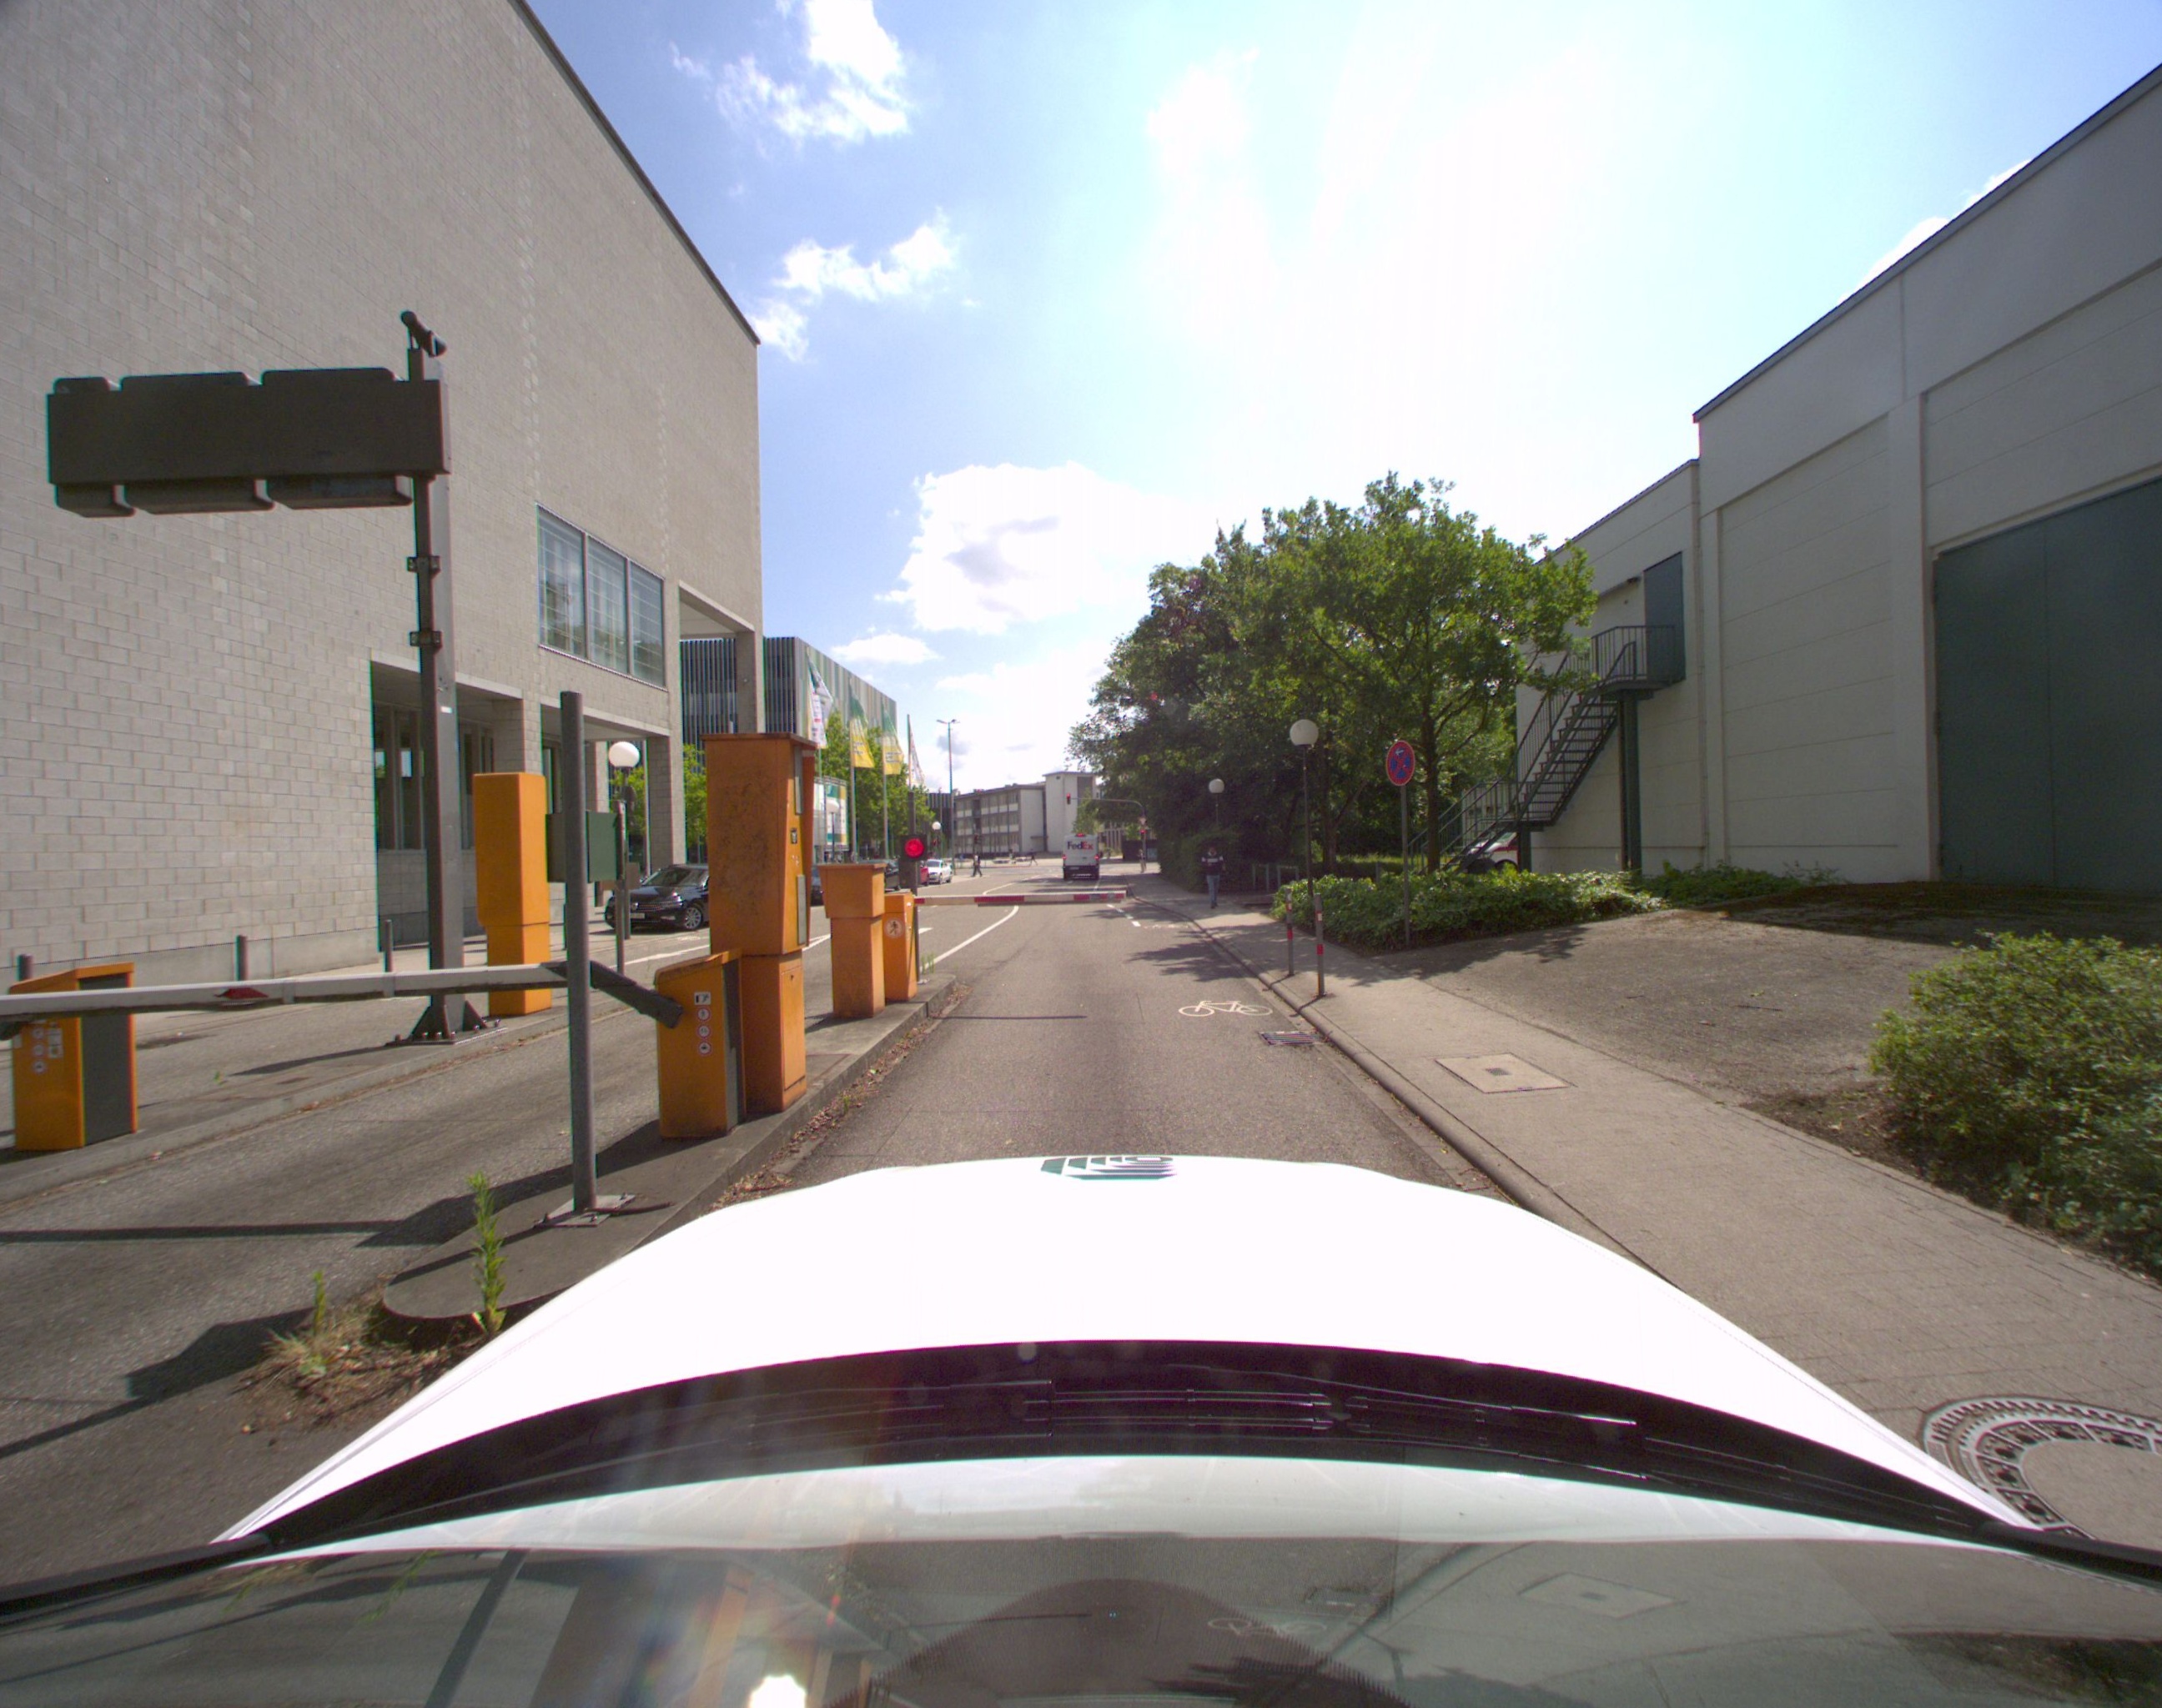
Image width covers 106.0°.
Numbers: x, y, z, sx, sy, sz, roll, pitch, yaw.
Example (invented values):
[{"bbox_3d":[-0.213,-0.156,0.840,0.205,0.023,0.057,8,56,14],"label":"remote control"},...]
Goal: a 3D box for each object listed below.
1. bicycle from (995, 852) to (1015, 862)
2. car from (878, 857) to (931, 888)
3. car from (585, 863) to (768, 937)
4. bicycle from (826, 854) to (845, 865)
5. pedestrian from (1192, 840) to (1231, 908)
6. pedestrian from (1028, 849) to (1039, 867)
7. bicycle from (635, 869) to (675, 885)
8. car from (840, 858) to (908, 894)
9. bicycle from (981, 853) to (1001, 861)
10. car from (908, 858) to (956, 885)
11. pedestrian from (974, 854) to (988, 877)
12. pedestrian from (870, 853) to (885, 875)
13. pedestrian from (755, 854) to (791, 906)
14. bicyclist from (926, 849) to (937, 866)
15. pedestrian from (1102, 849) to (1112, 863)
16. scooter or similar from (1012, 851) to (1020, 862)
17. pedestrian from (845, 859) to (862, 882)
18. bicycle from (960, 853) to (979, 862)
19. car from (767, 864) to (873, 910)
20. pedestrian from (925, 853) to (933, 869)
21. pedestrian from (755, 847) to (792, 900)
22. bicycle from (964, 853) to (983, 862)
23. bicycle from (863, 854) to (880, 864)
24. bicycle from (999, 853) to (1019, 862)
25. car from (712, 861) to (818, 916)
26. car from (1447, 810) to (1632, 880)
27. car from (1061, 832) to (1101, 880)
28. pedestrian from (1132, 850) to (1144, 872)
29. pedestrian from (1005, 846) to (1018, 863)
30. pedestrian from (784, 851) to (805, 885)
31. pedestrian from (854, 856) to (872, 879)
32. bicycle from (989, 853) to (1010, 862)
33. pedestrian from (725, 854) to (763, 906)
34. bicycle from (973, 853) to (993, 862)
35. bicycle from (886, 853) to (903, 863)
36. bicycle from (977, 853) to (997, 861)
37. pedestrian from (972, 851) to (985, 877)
[{"bbox_3d":[-11.745,0.465,126.074,2.978,1.363,1.105,-1,0,-36],"label":"bicycle"},{"bbox_3d":[-8.911,0.903,41.499,1.670,1.467,3.914,0,0,3],"label":"car"},{"bbox_3d":[-9.371,0.979,19.385,1.852,1.467,4.721,0,0,2],"label":"car"},{"bbox_3d":[-30.003,0.685,99.462,1.384,1.237,2.919,-1,0,-35],"label":"bicycle"},{"bbox_3d":[3.331,0.491,20.874,0.737,1.674,1.256,-2,0,-1],"label":"pedestrian"},{"bbox_3d":[-5.225,0.452,89.972,1.077,1.870,0.832,-2,0,0],"label":"pedestrian"},{"bbox_3d":[-31.891,1.730,60.998,2.600,1.113,0.665,-1,0,0],"label":"bicycle"},{"bbox_3d":[-9.237,0.958,36.642,1.740,1.467,4.201,0,0,4],"label":"car"},{"bbox_3d":[-14.325,0.471,129.589,2.978,1.363,1.105,-1,0,-36],"label":"bicycle"},{"bbox_3d":[-8.466,0.961,46.733,1.670,1.395,4.666,0,0,3],"label":"car"},{"bbox_3d":[-7.371,0.835,60.153,0.839,1.651,0.747,-2,0,3],"label":"pedestrian"},{"bbox_3d":[-15.207,0.711,60.895,0.767,1.597,0.799,-2,0,4],"label":"pedestrian"},{"bbox_3d":[-12.388,1.032,32.800,0.981,2.013,1.164,-2,0,-2],"label":"pedestrian"},{"bbox_3d":[-16.688,0.351,90.784,0.784,1.817,1.002,-2,0,12],"label":"bicyclist"},{"bbox_3d":[2.870,0.256,89.896,0.827,1.523,0.810,-2,0,-17],"label":"pedestrian"},{"bbox_3d":[-7.402,0.312,92.367,0.716,1.178,2.717,-2,0,-8],"label":"scooter or similar"},{"bbox_3d":[-18.818,1.348,67.283,0.845,1.876,1.012,-2,0,25],"label":"pedestrian"},{"bbox_3d":[-18.679,0.581,136.226,2.978,1.363,1.105,-1,0,-36],"label":"bicycle"},{"bbox_3d":[-9.187,1.107,29.144,1.851,1.378,5.021,0,0,4],"label":"car"},{"bbox_3d":[-16.528,0.772,88.523,0.751,1.678,0.755,-2,0,-1],"label":"pedestrian"},{"bbox_3d":[-11.874,0.737,31.482,0.981,2.013,1.164,-2,0,-2],"label":"pedestrian"},{"bbox_3d":[-17.839,0.567,134.718,2.978,1.363,1.105,-1,0,-36],"label":"bicycle"},{"bbox_3d":[-26.288,0.593,102.029,1.205,1.237,2.920,-1,0,-34],"label":"bicycle"},{"bbox_3d":[-11.047,0.559,124.955,2.978,1.363,1.105,-1,0,-36],"label":"bicycle"},{"bbox_3d":[-9.419,0.971,24.567,1.632,1.467,3.708,0,0,2],"label":"car"},{"bbox_3d":[14.744,-0.278,26.409,4.806,2.013,2.063,-2,0,2],"label":"car"},{"bbox_3d":[0.060,0.085,47.063,2.087,2.566,5.604,-2,0,1],"label":"car"},{"bbox_3d":[4.055,0.473,57.935,0.729,1.575,0.775,-1,0,-3],"label":"pedestrian"},{"bbox_3d":[-8.640,0.073,101.315,1.131,2.013,1.161,-2,0,16],"label":"pedestrian"},{"bbox_3d":[-15.890,0.760,45.177,0.716,1.851,1.090,0,0,6],"label":"pedestrian"},{"bbox_3d":[-17.734,1.076,66.208,0.853,1.818,1.102,-2,0,25],"label":"pedestrian"},{"bbox_3d":[-12.741,0.482,127.366,2.978,1.363,1.262,-1,0,-36],"label":"bicycle"},{"bbox_3d":[-13.475,1.030,32.579,0.981,2.013,1.164,-2,0,-2],"label":"pedestrian"},{"bbox_3d":[-15.799,0.528,131.740,2.978,1.363,1.105,-1,0,-36],"label":"bicycle"},{"bbox_3d":[-23.898,0.563,104.335,1.206,1.237,2.920,-1,0,-34],"label":"bicycle"},{"bbox_3d":[-15.072,0.487,130.666,2.978,1.363,1.105,-1,0,-36],"label":"bicycle"},{"bbox_3d":[-7.450,0.737,59.179,0.716,1.859,0.771,-2,0,3],"label":"pedestrian"}]
